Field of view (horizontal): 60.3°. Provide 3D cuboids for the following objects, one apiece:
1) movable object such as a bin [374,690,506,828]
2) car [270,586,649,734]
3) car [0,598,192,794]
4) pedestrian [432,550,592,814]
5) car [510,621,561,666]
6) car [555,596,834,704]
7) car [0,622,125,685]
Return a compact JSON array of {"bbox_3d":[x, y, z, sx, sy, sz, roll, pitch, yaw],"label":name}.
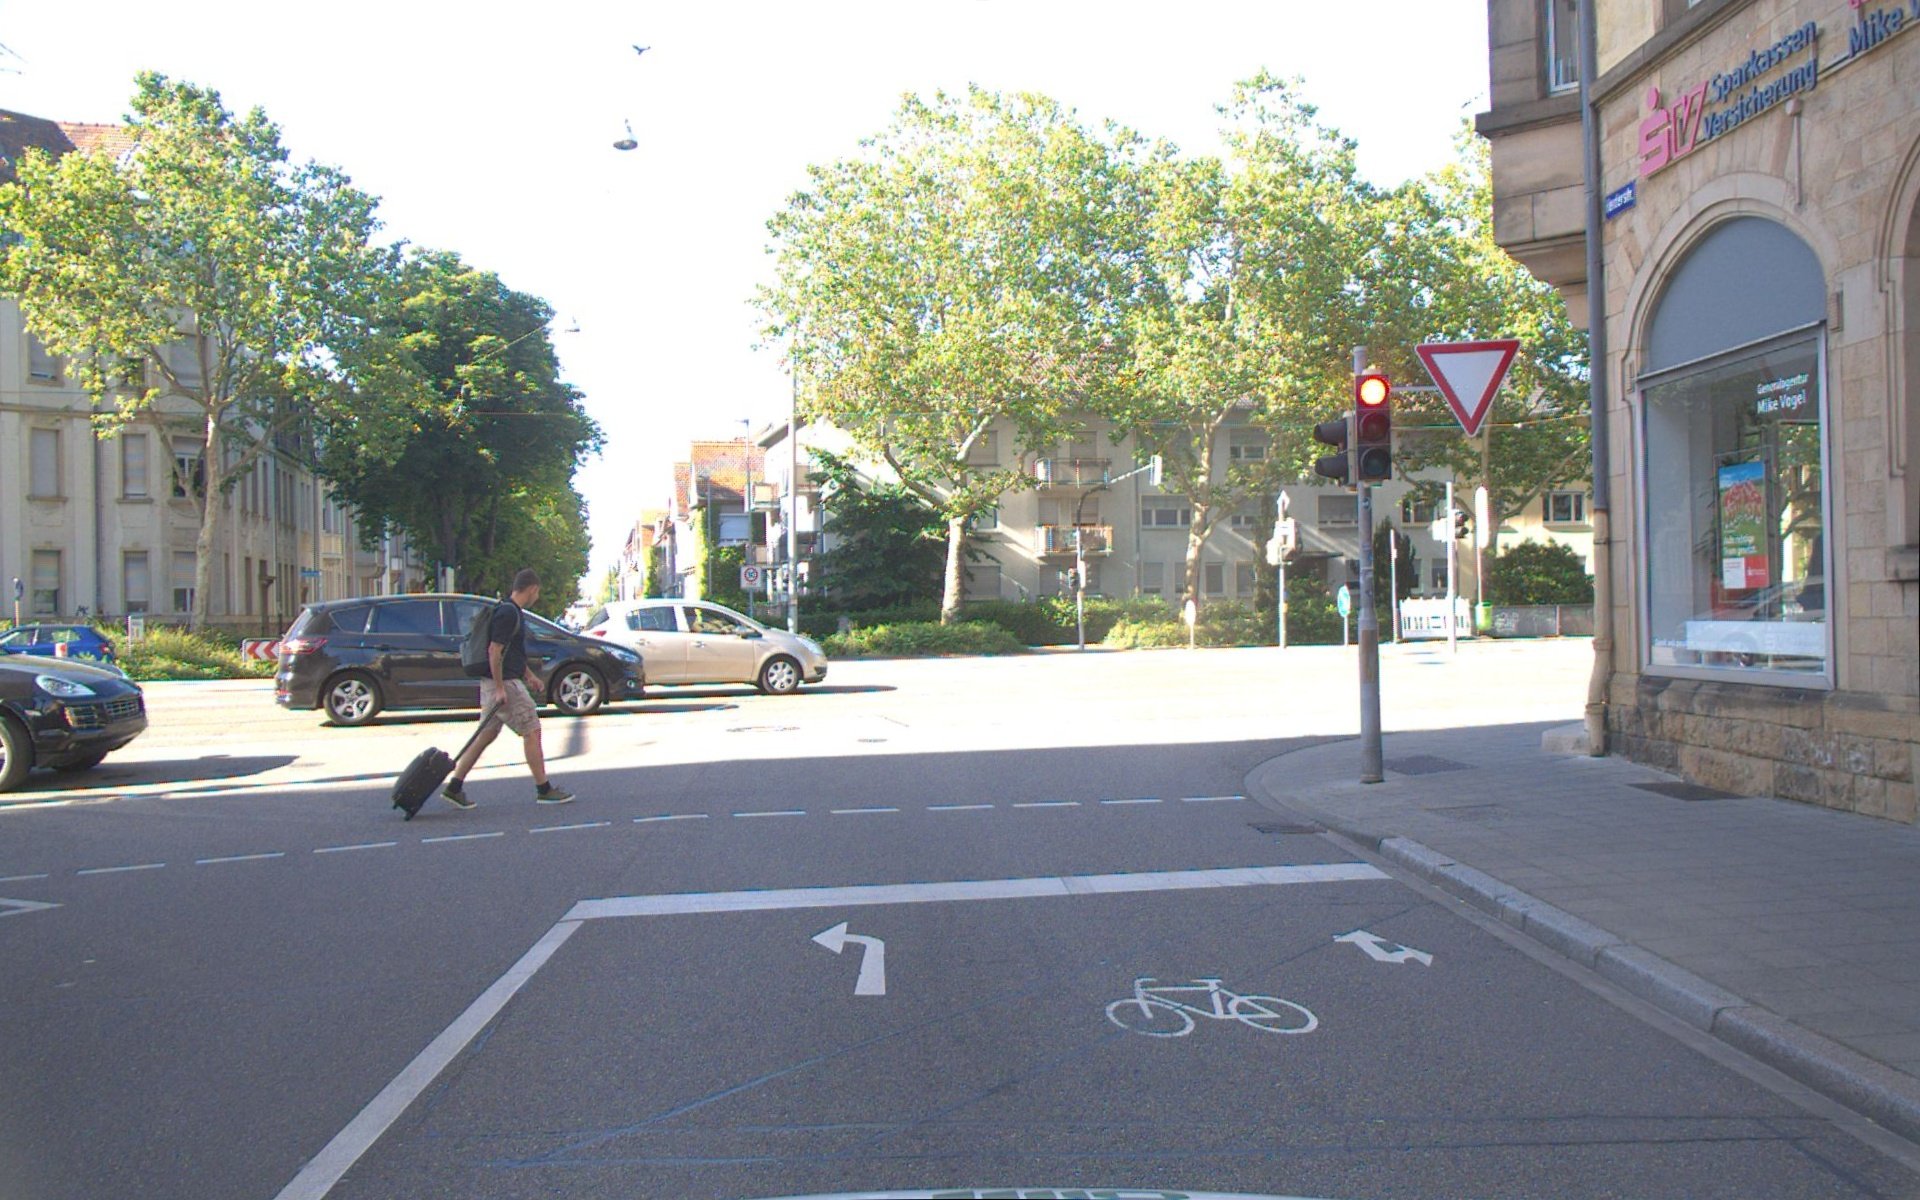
[{"bbox_3d":[-3.804,1.155,12.135,0.847,0.907,0.508,-2,0,-13],"label":"movable object such as a bin"},{"bbox_3d":[-6.550,0.739,21.952,4.586,1.693,1.722,-2,0,-17],"label":"car"},{"bbox_3d":[-10.015,0.894,15.546,4.604,1.723,2.076,-1,0,-7],"label":"car"},{"bbox_3d":[-3.398,0.601,12.628,1.047,1.880,0.746,-3,0,-13],"label":"pedestrian"},{"bbox_3d":[-16.163,1.638,63.080,1.669,1.509,3.523,-3,1,-12],"label":"car"},{"bbox_3d":[-4.158,0.730,25.803,4.132,1.482,1.671,-1,1,-16],"label":"car"},{"bbox_3d":[-22.283,1.281,39.816,3.728,1.425,1.635,-1,0,-22],"label":"car"}]
